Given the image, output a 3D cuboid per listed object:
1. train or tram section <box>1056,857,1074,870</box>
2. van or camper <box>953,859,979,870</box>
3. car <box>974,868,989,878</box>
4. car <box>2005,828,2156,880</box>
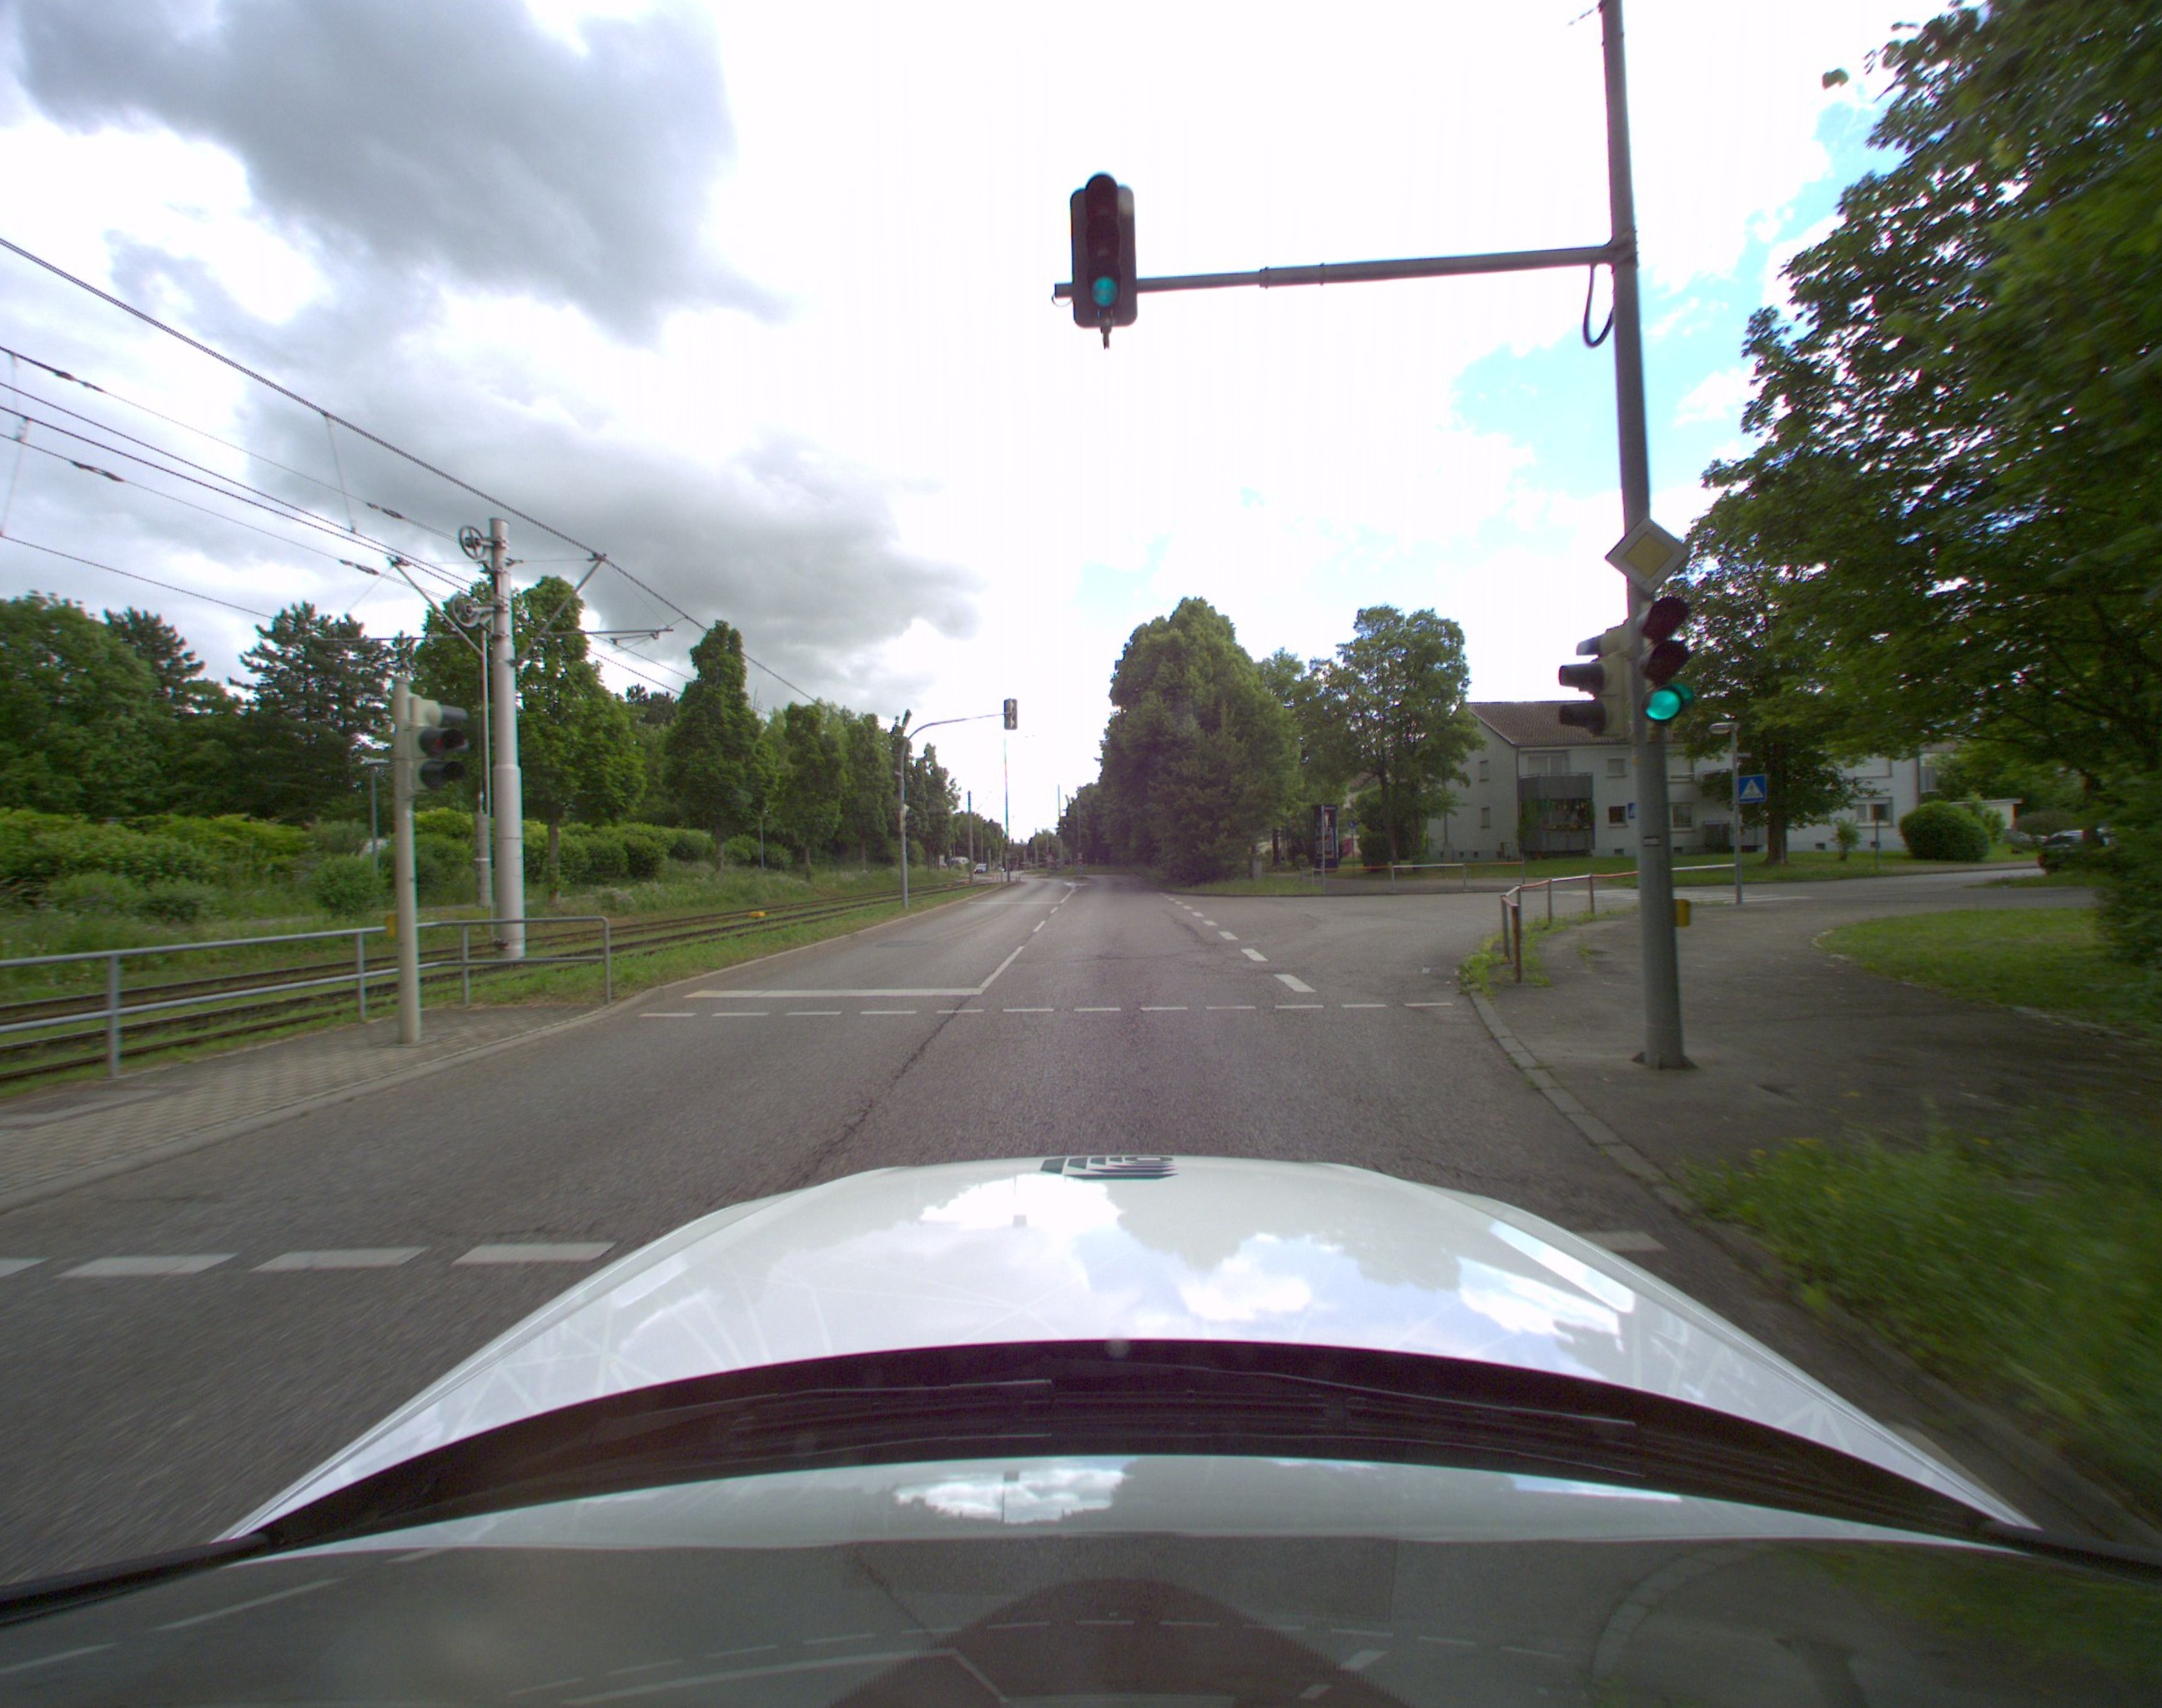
[{"bbox_3d":[-4.771,2.823,238.679,3.003,3.311,34.646,-1,-1,-5],"label":"train or tram section"},{"bbox_3d":[-25.227,2.256,178.745,5.320,2.203,1.998,-1,-1,-3],"label":"van or camper"},{"bbox_3d":[-15.579,2.972,127.792,1.862,1.521,4.237,-1,0,-1],"label":"car"},{"bbox_3d":[30.833,-0.009,25.133,3.771,1.464,1.628,-1,-1,-18],"label":"car"}]
